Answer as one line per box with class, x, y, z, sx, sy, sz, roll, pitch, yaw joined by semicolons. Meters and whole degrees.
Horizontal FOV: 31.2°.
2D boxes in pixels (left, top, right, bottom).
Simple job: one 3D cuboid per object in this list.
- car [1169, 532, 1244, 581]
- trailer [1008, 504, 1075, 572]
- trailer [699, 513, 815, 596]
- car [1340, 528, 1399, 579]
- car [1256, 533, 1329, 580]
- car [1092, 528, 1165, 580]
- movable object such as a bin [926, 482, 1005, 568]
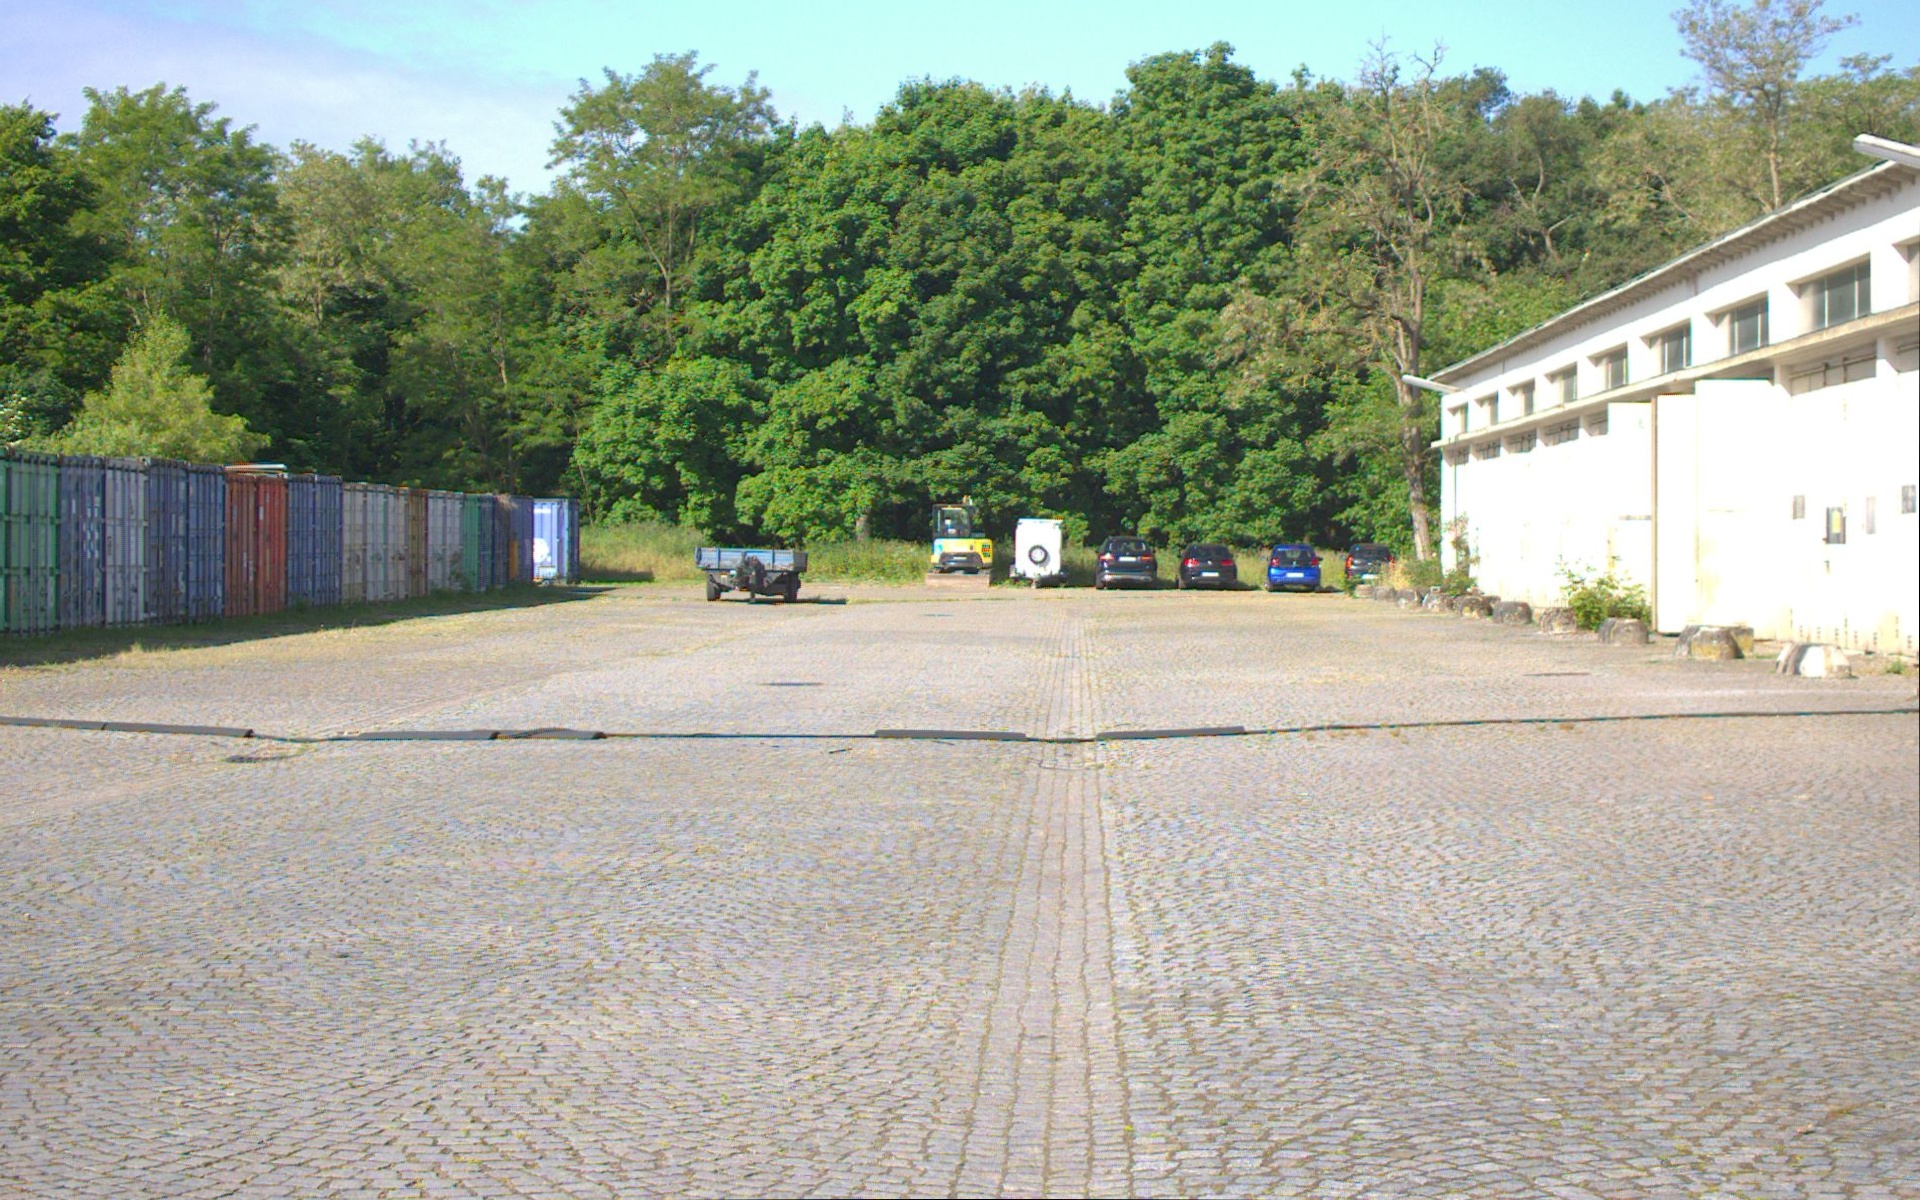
car;7.629;-1.360;106.038;1.994;1.457;3.999;0;1;9
trailer;2.576;-1.945;107.910;1.794;2.083;3.971;0;1;6
trailer;-5.236;-1.195;89.109;2.407;2.007;4.173;2;1;4
car;12.781;-1.457;107.252;1.686;1.558;3.999;0;1;9
car;10.268;-1.345;105.981;1.994;1.415;3.999;0;1;9
car;5.210;-1.425;105.909;1.862;1.580;3.999;0;1;9
movable object such as a bin;0.190;-2.359;108.276;1.994;2.609;3.999;2;1;6
